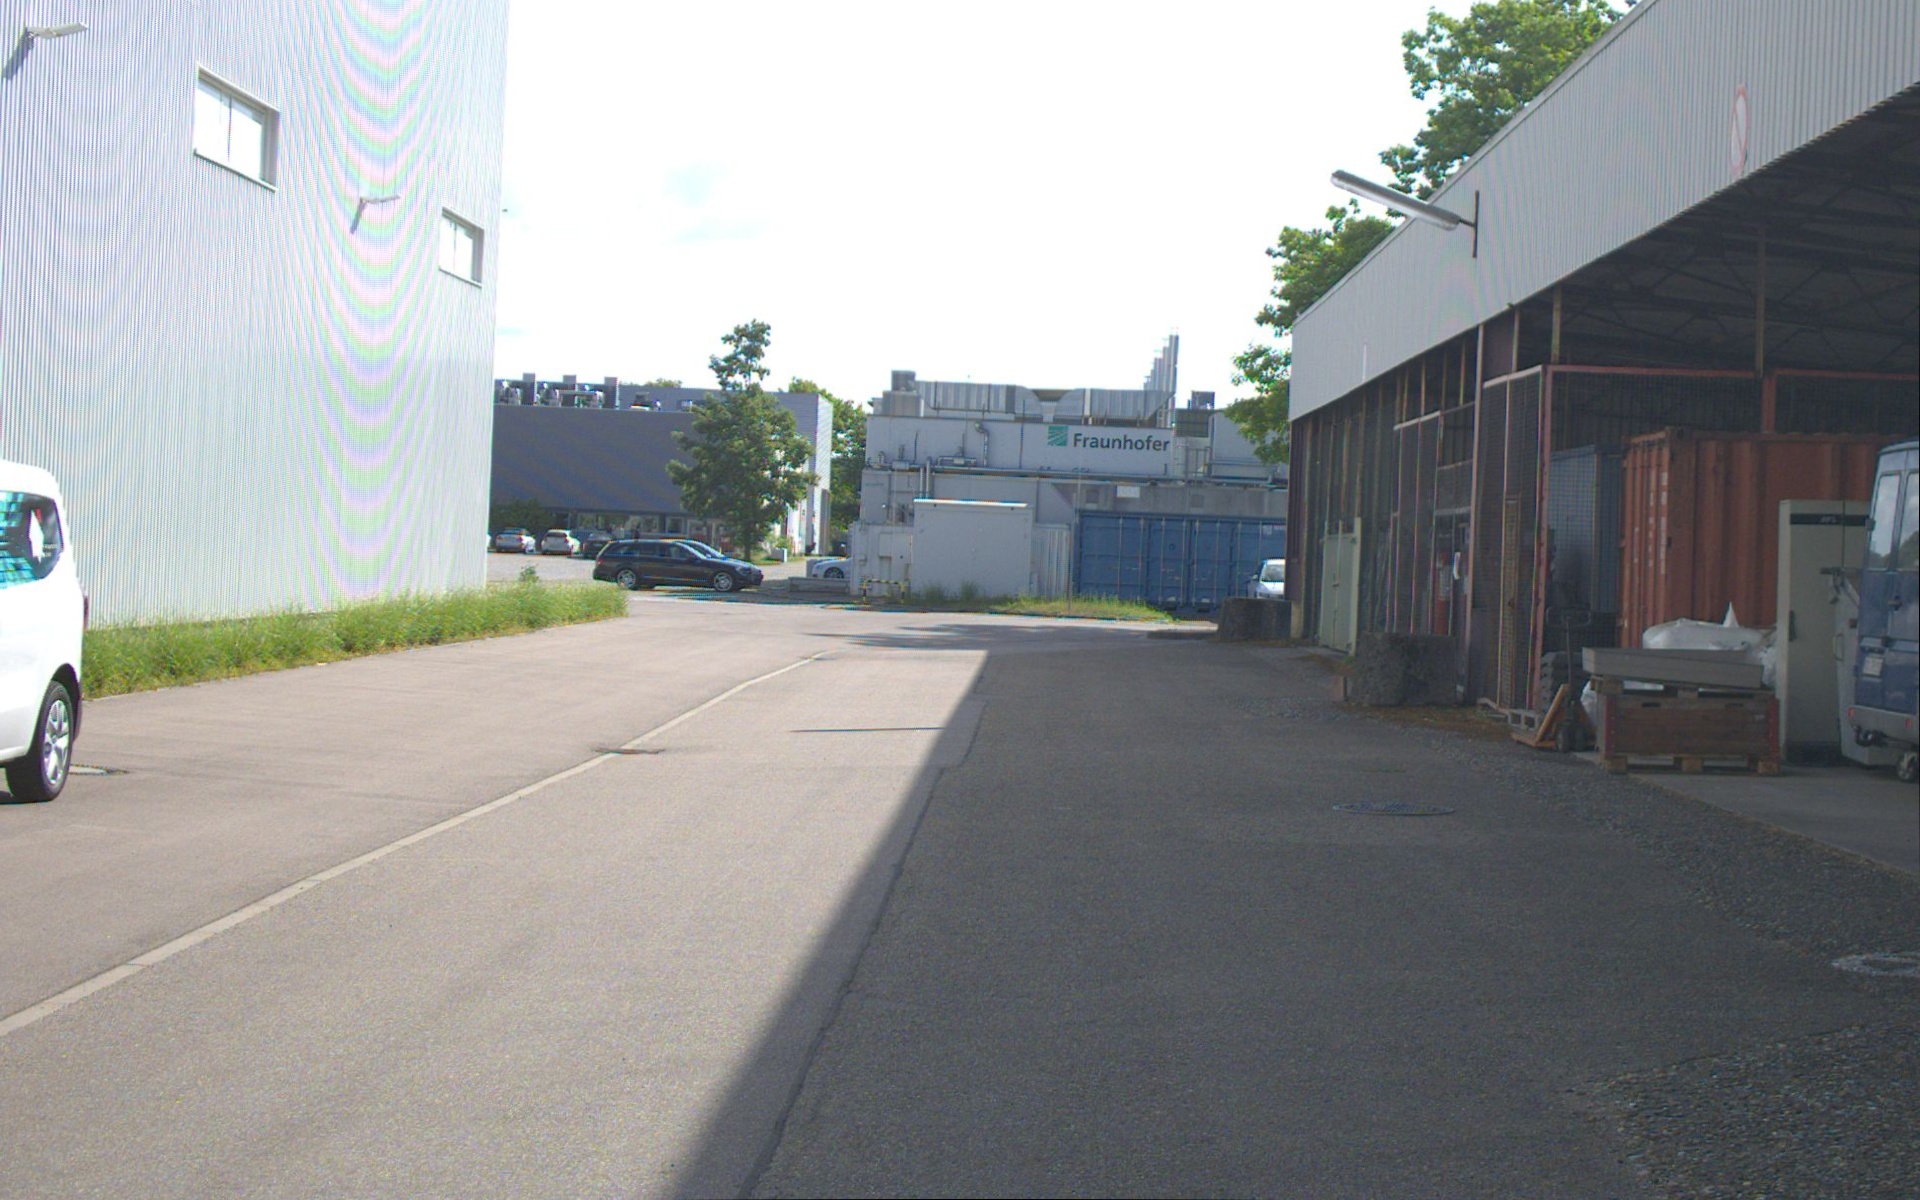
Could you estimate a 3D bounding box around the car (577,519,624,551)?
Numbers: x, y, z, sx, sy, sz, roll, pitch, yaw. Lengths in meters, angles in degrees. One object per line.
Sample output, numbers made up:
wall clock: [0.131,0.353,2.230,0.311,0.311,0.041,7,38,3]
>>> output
car: [-20.322,-3.666,194.662,2.193,1.730,4.000,1,1,1]

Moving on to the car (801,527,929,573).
car: [-3.471,-1.835,126.391,4.526,1.503,1.909,2,1,2]

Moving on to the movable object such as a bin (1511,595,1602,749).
movable object such as a bin: [4.728,0.557,27.297,0.582,1.160,1.238,2,1,5]

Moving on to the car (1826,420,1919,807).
car: [8.195,0.153,21.519,4.979,2.317,2.000,2,1,2]

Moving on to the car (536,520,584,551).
car: [-22.843,-3.684,196.439,2.193,1.730,4.000,1,1,1]

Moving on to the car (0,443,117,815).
car: [-5.648,0.087,16.645,1.890,1.839,4.358,4,1,1]

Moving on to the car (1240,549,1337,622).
car: [8.163,-0.375,85.732,1.993,1.580,4.173,2,2,1]

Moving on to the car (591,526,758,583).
car: [-8.201,-1.307,98.911,4.526,1.503,1.909,2,1,3]

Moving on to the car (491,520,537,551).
car: [-25.436,-3.683,196.163,1.993,1.730,4.000,1,1,1]
